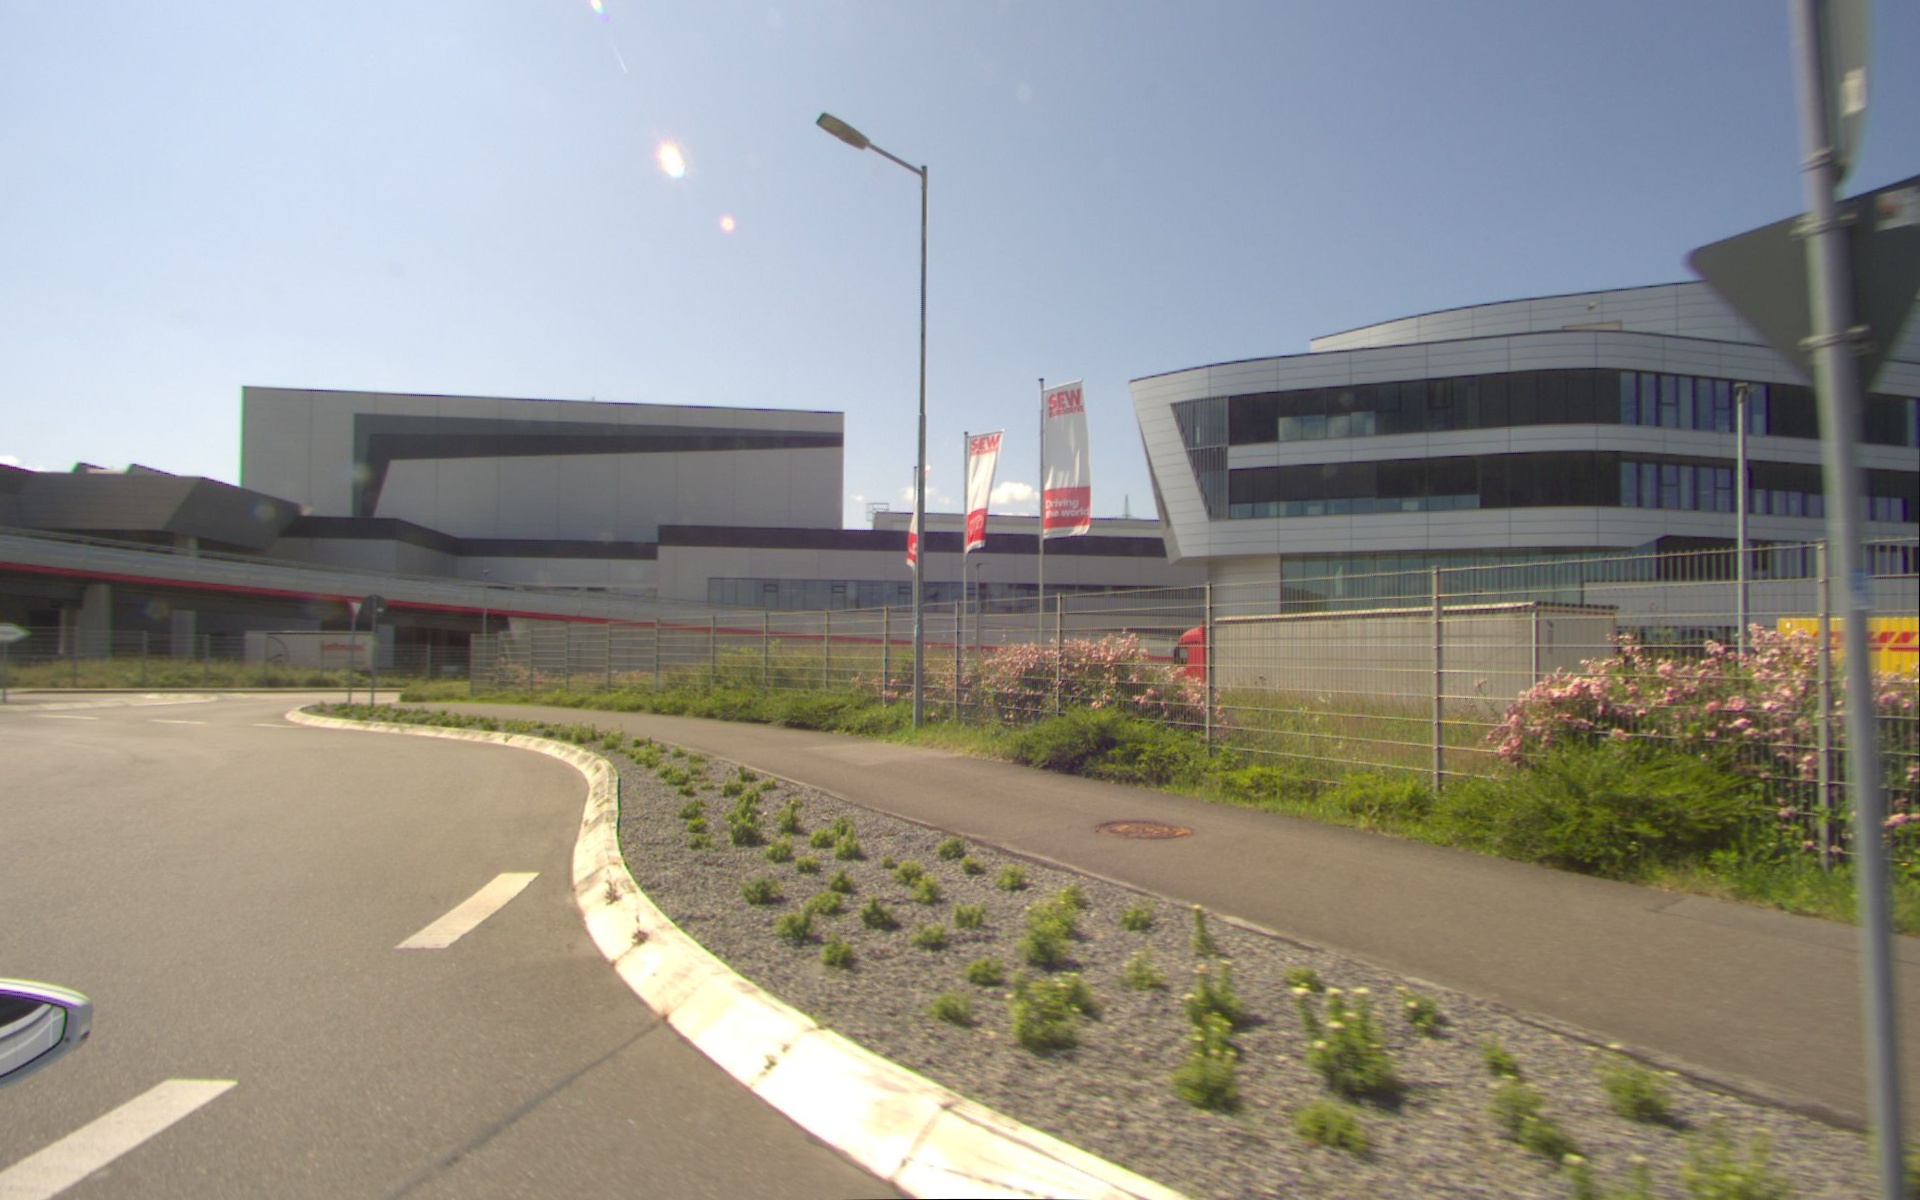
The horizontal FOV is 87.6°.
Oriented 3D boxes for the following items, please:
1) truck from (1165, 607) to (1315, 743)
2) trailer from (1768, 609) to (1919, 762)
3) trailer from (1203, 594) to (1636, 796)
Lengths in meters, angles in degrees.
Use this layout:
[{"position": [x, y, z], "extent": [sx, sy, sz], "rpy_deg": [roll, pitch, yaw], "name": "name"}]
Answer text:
[{"position": [9.931, 2.565, 36.042], "extent": [2.718, 4.479, 5.281], "rpy_deg": [0, -1, -18], "name": "truck"}, {"position": [28.960, 2.447, 28.746], "extent": [2.853, 4.350, 8.694], "rpy_deg": [0, -2, -21], "name": "trailer"}, {"position": [12.118, 2.342, 29.361], "extent": [2.718, 4.494, 14.038], "rpy_deg": [0, -2, -18], "name": "trailer"}]
